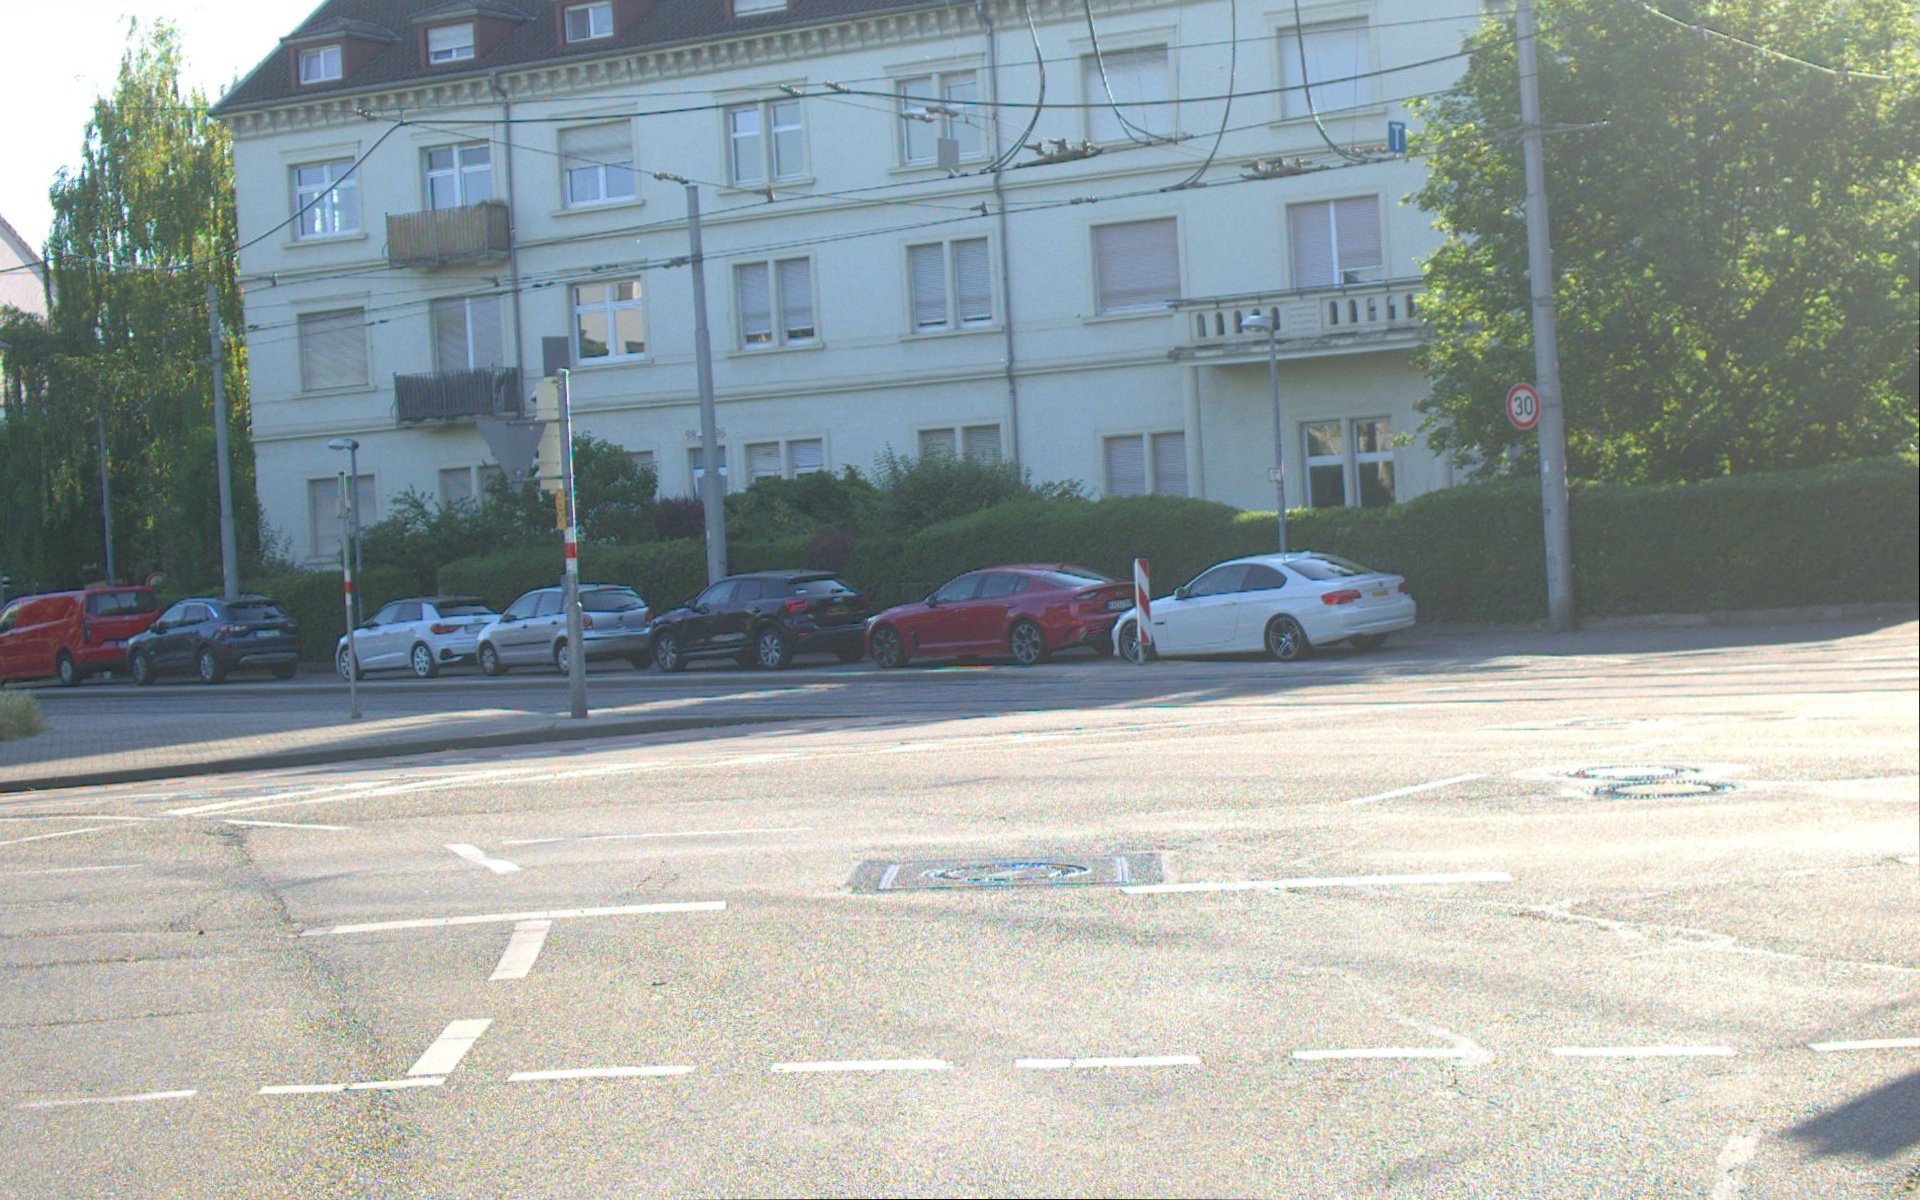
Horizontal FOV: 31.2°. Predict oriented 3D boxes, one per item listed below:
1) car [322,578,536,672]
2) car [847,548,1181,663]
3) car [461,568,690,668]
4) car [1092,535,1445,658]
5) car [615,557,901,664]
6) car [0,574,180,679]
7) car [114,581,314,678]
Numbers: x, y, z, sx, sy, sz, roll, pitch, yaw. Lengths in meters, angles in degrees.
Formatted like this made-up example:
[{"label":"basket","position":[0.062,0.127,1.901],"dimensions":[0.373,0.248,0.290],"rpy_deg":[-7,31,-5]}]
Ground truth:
[{"label":"car","position":[-9.511,0.463,61.380],"dimensions":[1.840,1.442,3.957],"rpy_deg":[-7,3,-41]},{"label":"car","position":[0.749,0.099,50.129],"dimensions":[4.702,1.371,1.982],"rpy_deg":[-2,3,44]},{"label":"car","position":[-6.497,0.320,57.886],"dimensions":[1.982,1.442,3.717],"rpy_deg":[-7,3,-41]},{"label":"car","position":[4.089,-0.027,46.133],"dimensions":[1.926,1.371,4.494],"rpy_deg":[-7,3,-42]},{"label":"car","position":[-3.262,0.186,54.639],"dimensions":[1.982,1.442,4.703],"rpy_deg":[-7,3,-41]},{"label":"car","position":[-18.650,0.577,72.257],"dimensions":[2.051,1.955,5.148],"rpy_deg":[-7,3,-41]},{"label":"car","position":[-14.614,0.595,67.216],"dimensions":[1.840,1.662,4.368],"rpy_deg":[-7,3,-41]}]
